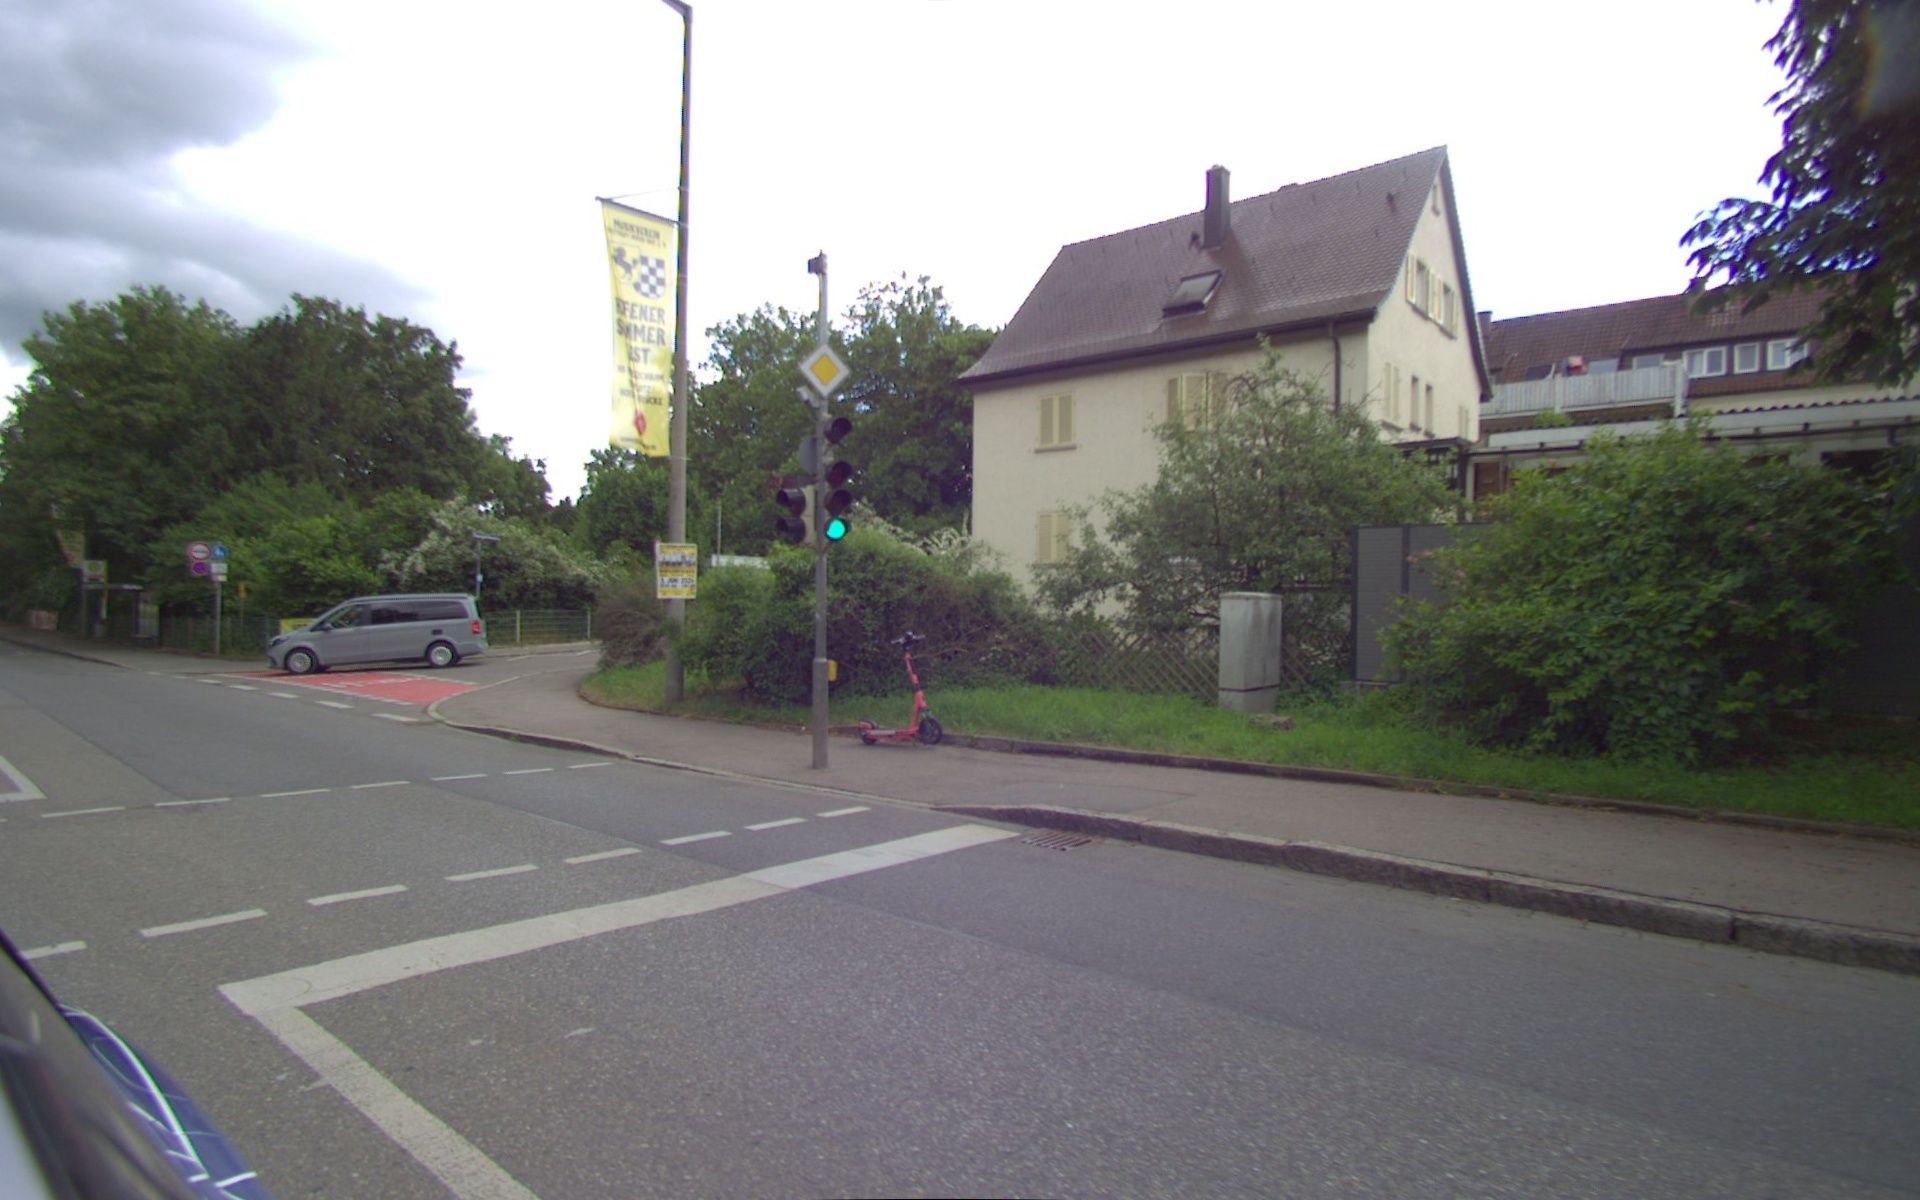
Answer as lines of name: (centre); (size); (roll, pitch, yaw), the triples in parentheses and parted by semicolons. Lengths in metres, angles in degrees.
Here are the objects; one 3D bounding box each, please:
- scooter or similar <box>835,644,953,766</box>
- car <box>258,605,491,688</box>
scooter or similar: (-0.766, 1.151, 11.461); (1.426, 1.268, 0.457); (-1, -1, 42)
car: (-15.292, 1.167, 26.795); (5.066, 1.942, 1.959); (-1, 0, -21)
